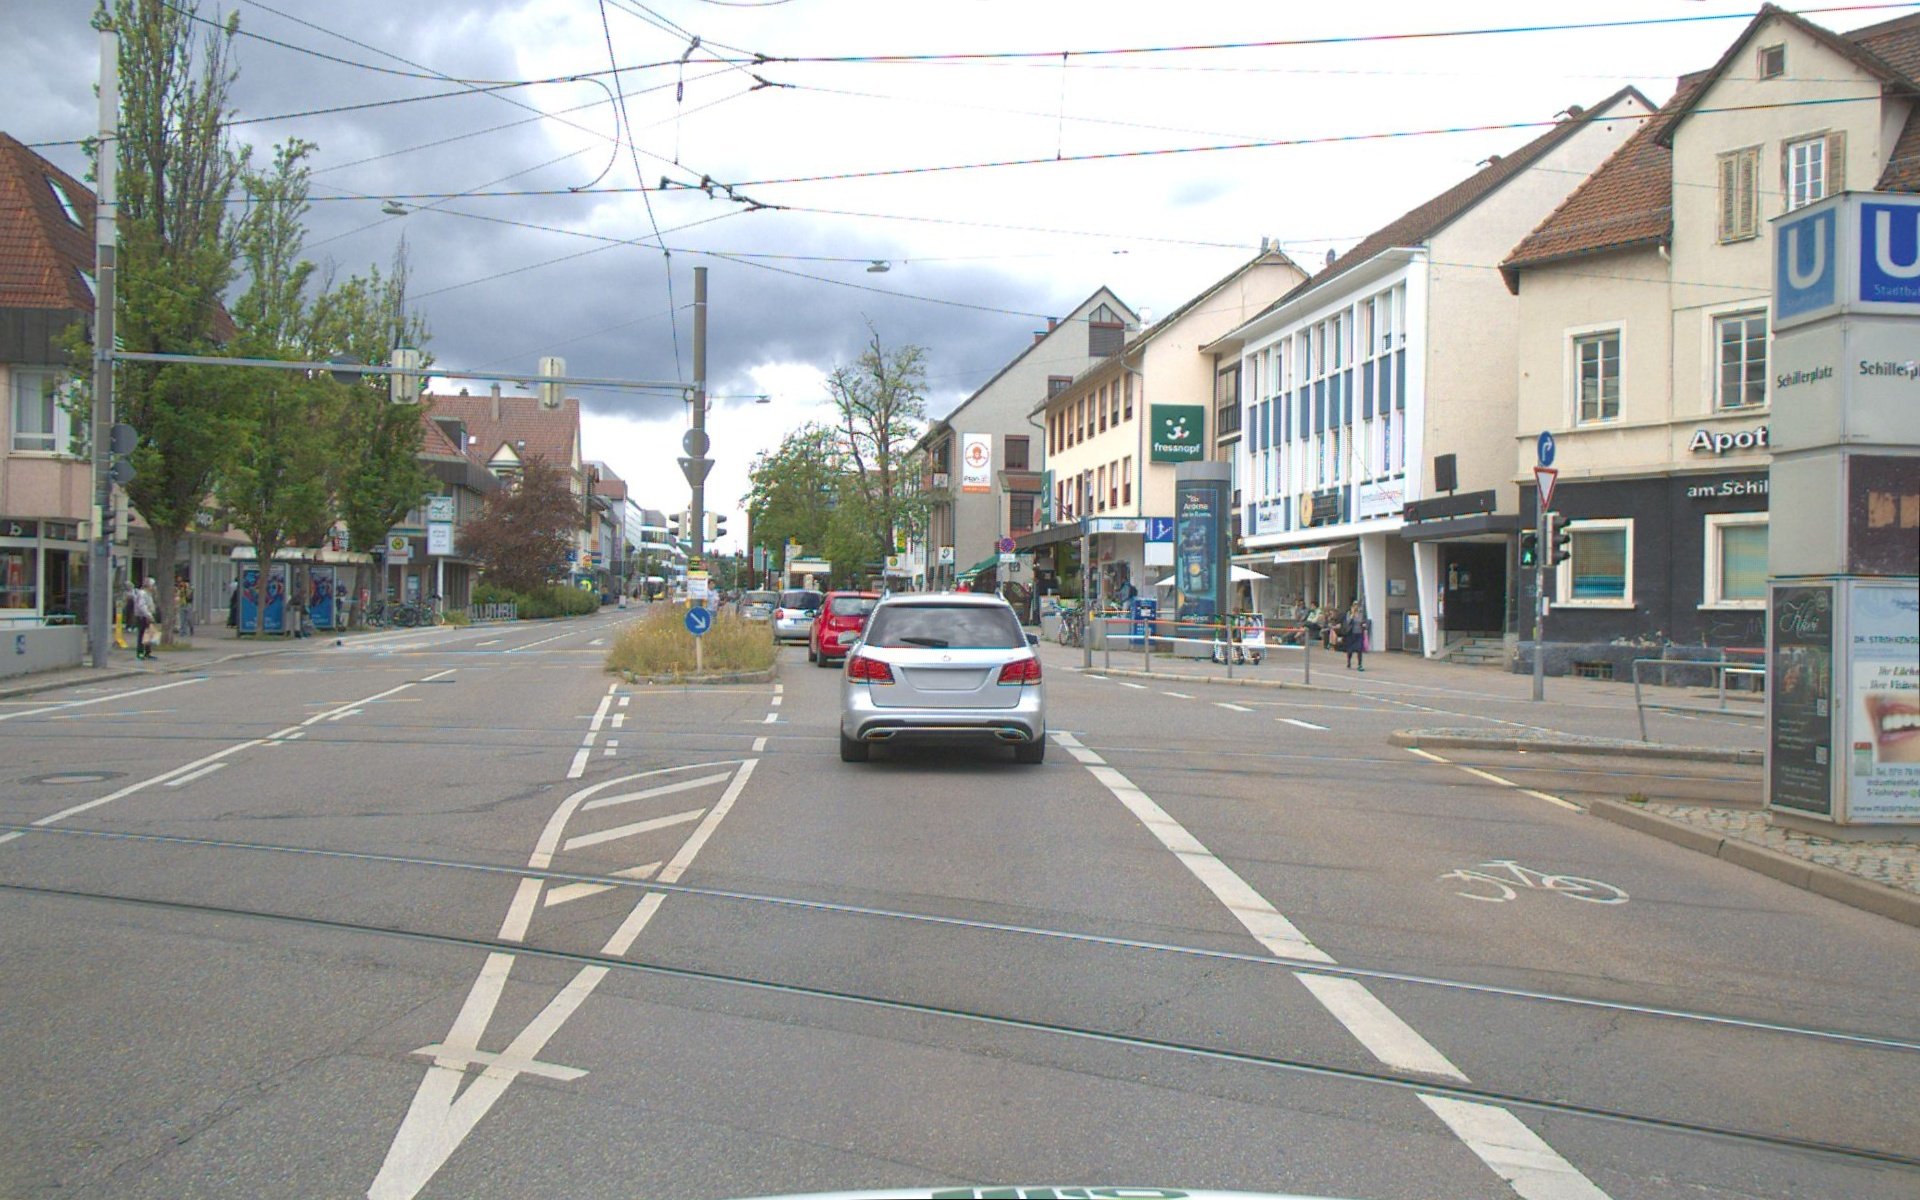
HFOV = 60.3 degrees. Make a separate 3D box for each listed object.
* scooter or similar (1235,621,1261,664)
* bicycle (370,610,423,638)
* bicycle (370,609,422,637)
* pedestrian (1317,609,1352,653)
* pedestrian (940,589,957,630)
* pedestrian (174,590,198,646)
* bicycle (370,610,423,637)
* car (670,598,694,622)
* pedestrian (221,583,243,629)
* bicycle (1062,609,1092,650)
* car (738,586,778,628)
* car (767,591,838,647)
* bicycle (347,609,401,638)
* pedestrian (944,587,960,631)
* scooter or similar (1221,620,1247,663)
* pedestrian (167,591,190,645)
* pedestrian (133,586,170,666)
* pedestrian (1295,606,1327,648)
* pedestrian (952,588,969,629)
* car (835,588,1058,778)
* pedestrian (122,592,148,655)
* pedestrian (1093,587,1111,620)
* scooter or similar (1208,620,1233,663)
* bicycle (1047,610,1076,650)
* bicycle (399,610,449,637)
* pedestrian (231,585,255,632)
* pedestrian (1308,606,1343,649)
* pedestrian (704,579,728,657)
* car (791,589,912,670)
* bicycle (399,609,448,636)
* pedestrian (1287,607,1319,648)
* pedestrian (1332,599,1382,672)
[{"bbox_3d":[7.009,1.018,40.304,0.266,1.019,1.026,0,0,-11],"label":"scooter or similar"},{"bbox_3d":[-22.051,0.935,64.781,1.907,1.047,0.527,2,-1,-18],"label":"bicycle"},{"bbox_3d":[-22.484,0.928,65.981,1.907,1.047,0.527,2,-1,-18],"label":"bicycle"},{"bbox_3d":[10.208,0.848,45.111,0.723,1.184,0.641,2,-1,-11],"label":"pedestrian"},{"bbox_3d":[-0.412,0.333,59.272,0.566,1.460,0.650,2,-1,-3],"label":"pedestrian"},{"bbox_3d":[-22.506,0.520,48.094,0.569,1.634,0.640,0,0,-21],"label":"pedestrian"},{"bbox_3d":[-22.276,0.931,65.413,1.907,1.047,0.527,2,-1,-18],"label":"bicycle"},{"bbox_3d":[-24.476,0.847,145.574,1.957,2.049,3.991,1,0,-10],"label":"car"},{"bbox_3d":[-26.436,0.222,60.055,0.694,1.634,0.574,1,0,-29],"label":"pedestrian"},{"bbox_3d":[3.303,0.831,47.008,0.439,1.127,2.146,0,0,-7],"label":"bicycle"},{"bbox_3d":[-8.909,0.290,72.906,1.701,1.790,3.994,0,0,-7],"label":"car"},{"bbox_3d":[-4.548,0.514,47.412,1.703,1.534,3.990,0,0,-10],"label":"car"},{"bbox_3d":[-22.659,0.913,63.946,1.907,1.047,0.527,2,-1,-18],"label":"bicycle"},{"bbox_3d":[-0.321,0.355,65.610,0.566,1.695,0.651,2,-1,-2],"label":"pedestrian"},{"bbox_3d":[6.660,1.007,40.221,0.266,1.019,1.026,0,0,-11],"label":"scooter or similar"},{"bbox_3d":[-23.721,0.547,50.220,0.569,1.634,0.640,0,0,-21],"label":"pedestrian"},{"bbox_3d":[-16.884,0.538,34.544,0.624,1.634,0.700,0,0,-21],"label":"pedestrian"},{"bbox_3d":[10.268,0.785,48.371,0.723,1.184,0.641,2,-1,-11],"label":"pedestrian"},{"bbox_3d":[0.020,0.324,61.850,0.566,1.495,0.650,2,-1,-4],"label":"pedestrian"},{"bbox_3d":[-0.088,0.666,15.517,1.808,1.534,4.171,0,0,1],"label":"car"},{"bbox_3d":[-24.543,0.687,49.201,0.633,1.868,0.576,1,0,-22],"label":"pedestrian"},{"bbox_3d":[5.420,0.128,63.012,0.523,1.240,0.578,2,-1,-11],"label":"pedestrian"},{"bbox_3d":[6.310,1.003,40.131,0.266,1.019,1.026,0,0,-11],"label":"scooter or similar"},{"bbox_3d":[2.867,0.836,46.944,0.439,1.110,2.146,0,0,-7],"label":"bicycle"},{"bbox_3d":[-21.978,0.951,67.831,1.907,1.047,0.527,2,-1,-18],"label":"bicycle"},{"bbox_3d":[-24.773,0.298,57.153,0.694,1.634,0.574,1,0,-29],"label":"pedestrian"},{"bbox_3d":[10.102,0.759,45.755,0.723,1.184,0.641,2,-1,-11],"label":"pedestrian"},{"bbox_3d":[-5.658,0.424,38.403,0.523,1.794,0.578,0,0,-10],"label":"pedestrian"},{"bbox_3d":[-2.258,0.564,33.500,1.705,1.534,3.984,1,0,-15],"label":"car"},{"bbox_3d":[-22.312,0.946,68.764,1.907,1.047,0.527,2,-1,-18],"label":"bicycle"},{"bbox_3d":[10.172,0.799,49.023,0.723,1.184,0.641,2,-1,-11],"label":"pedestrian"},{"bbox_3d":[8.999,0.803,37.511,0.633,1.619,0.890,2,-1,-28],"label":"pedestrian"}]
